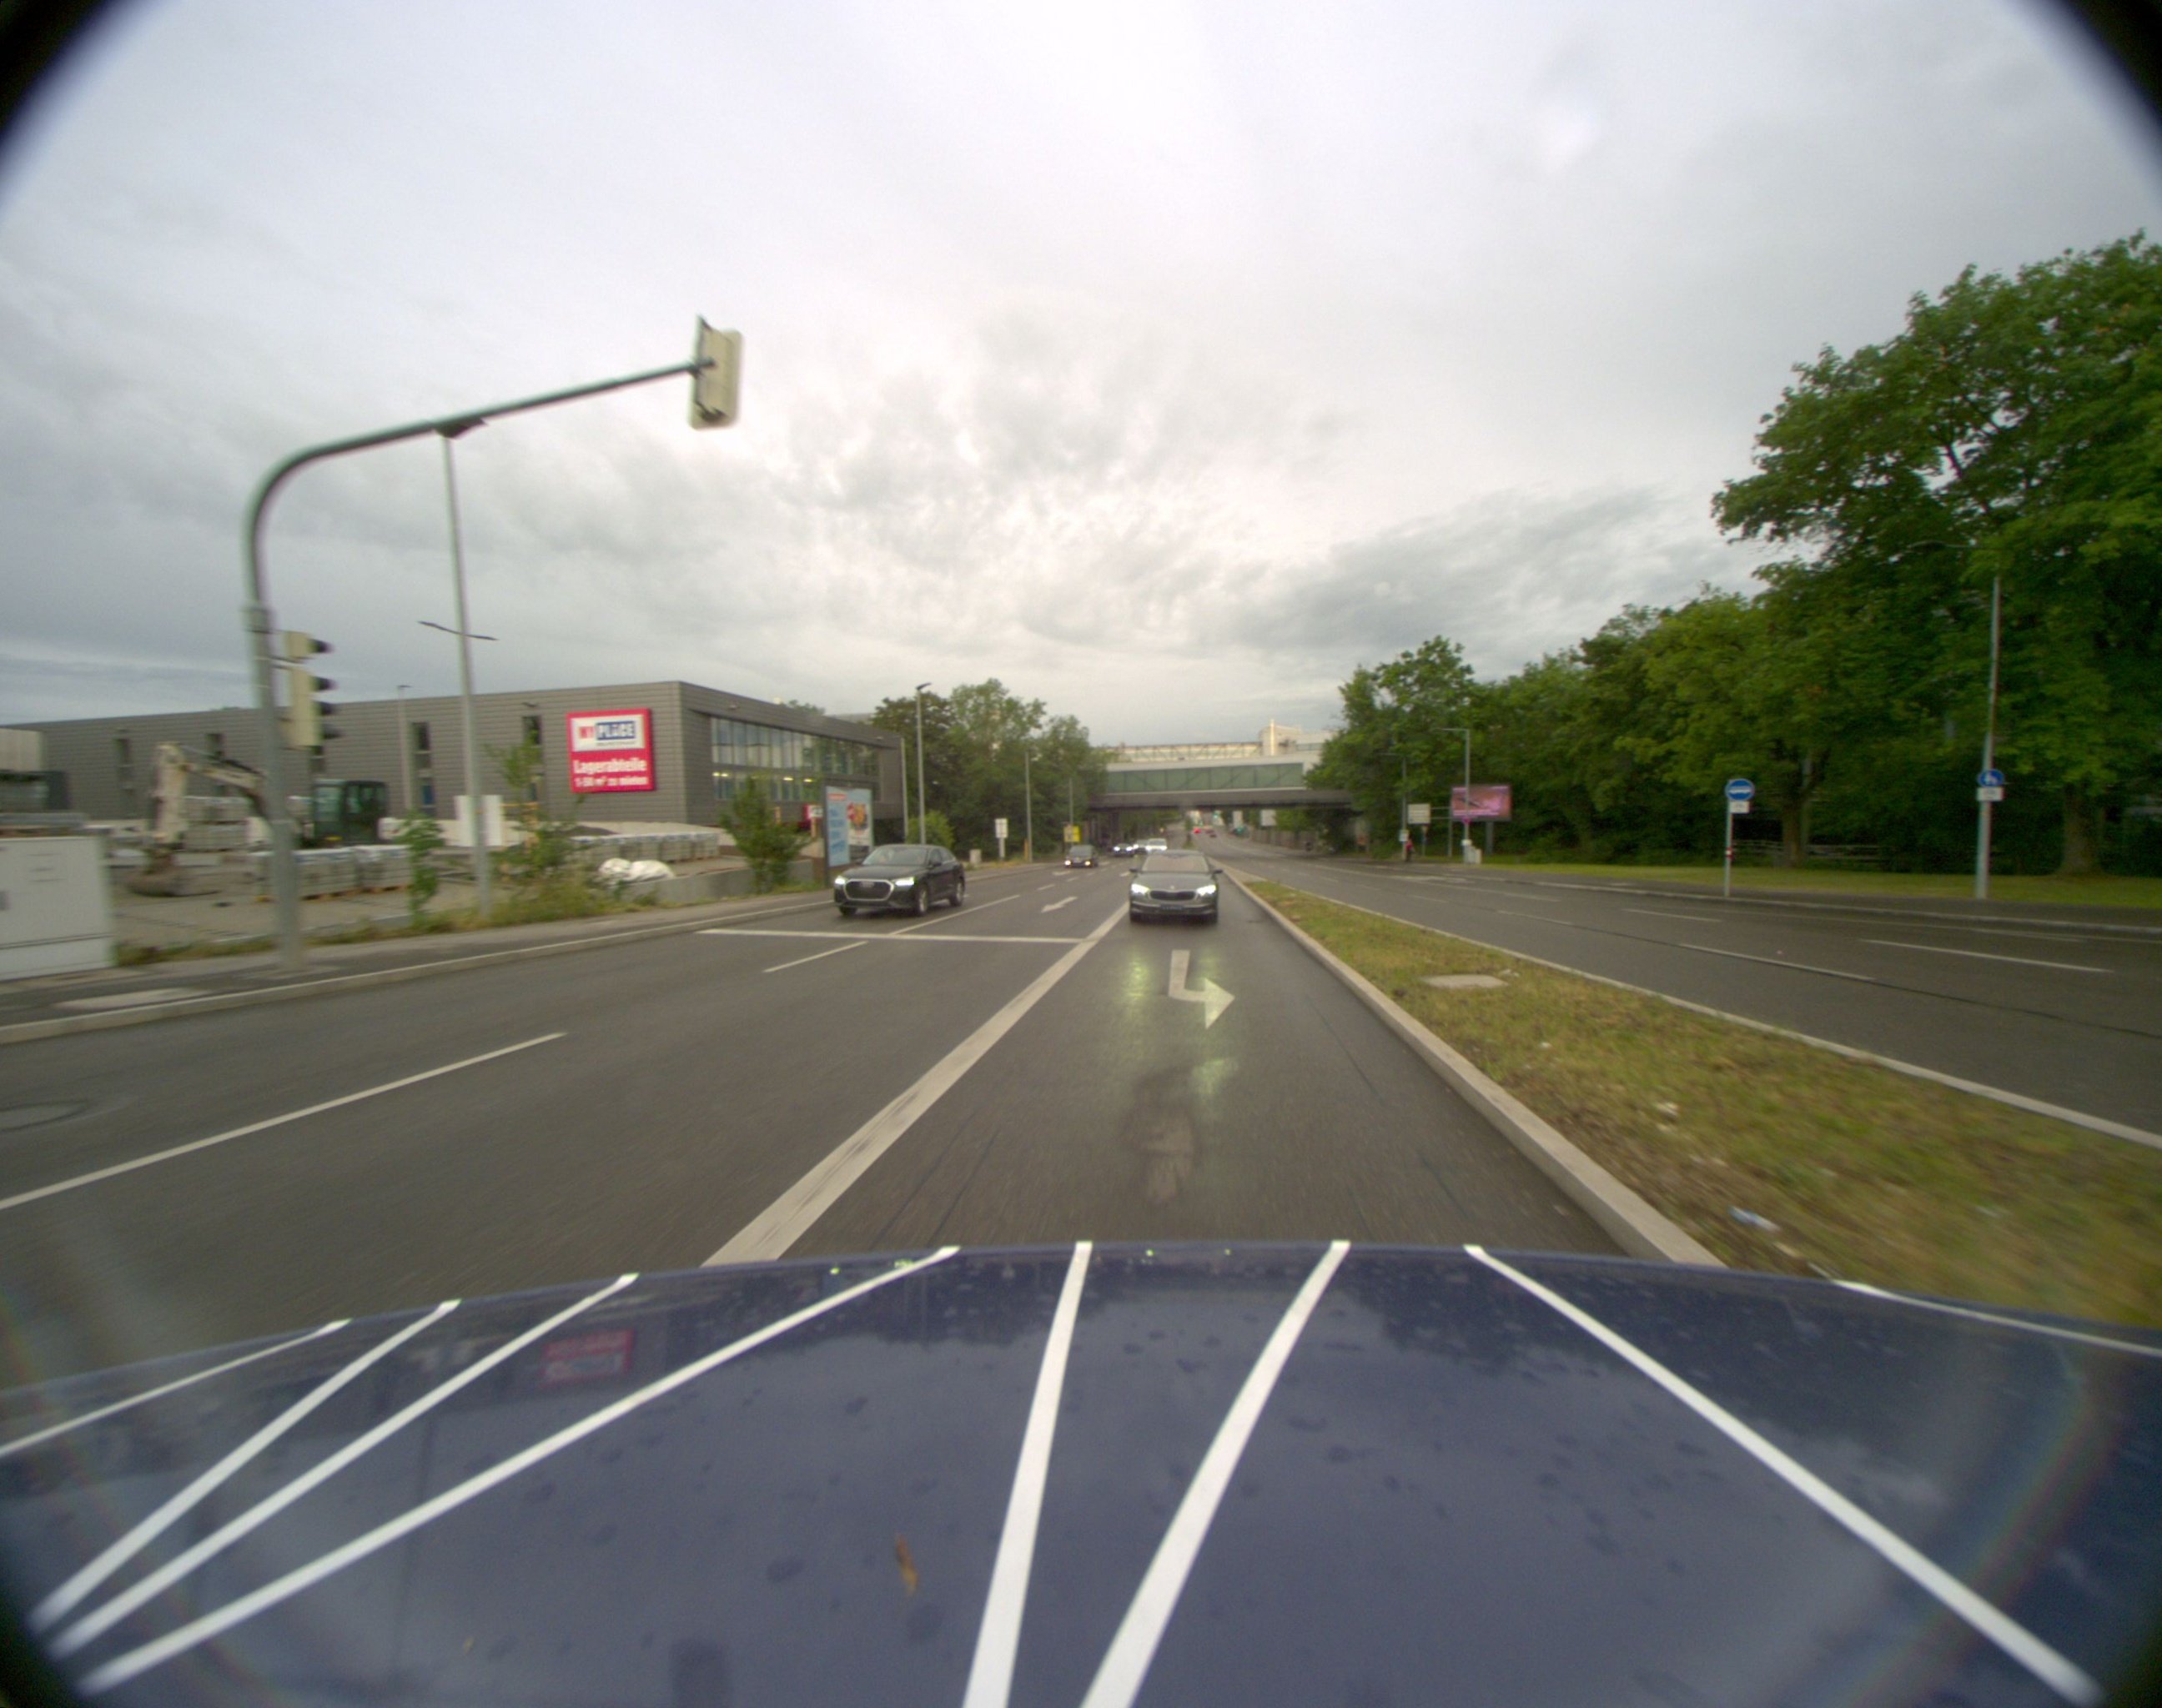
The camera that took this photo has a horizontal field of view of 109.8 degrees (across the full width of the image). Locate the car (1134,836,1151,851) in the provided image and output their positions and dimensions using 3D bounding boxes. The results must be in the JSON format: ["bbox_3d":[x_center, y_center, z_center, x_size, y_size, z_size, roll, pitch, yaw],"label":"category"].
[{"bbox_3d":[7.555,-1.319,93.128,1.818,1.571,4.333,-1,3,8],"label":"car"}]

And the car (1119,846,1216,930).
[{"bbox_3d":[1.936,0.624,16.481,1.818,1.536,4.065,1,1,8],"label":"car"}]

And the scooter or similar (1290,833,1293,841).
[{"bbox_3d":[32.092,-2.634,115.675,0.311,1.211,1.309,1,2,20],"label":"scooter or similar"}]

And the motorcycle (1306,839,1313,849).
[{"bbox_3d":[29.323,-1.301,97.554,0.469,1.198,1.997,0,2,8],"label":"motorcycle"}]

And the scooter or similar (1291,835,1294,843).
[{"bbox_3d":[31.556,-2.255,113.395,0.312,1.211,1.308,0,2,13],"label":"scooter or similar"}]

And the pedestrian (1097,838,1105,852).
[{"bbox_3d":[2.225,-1.030,84.299,0.651,1.587,0.579,1,3,20],"label":"pedestrian"}]

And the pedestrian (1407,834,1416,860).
[{"bbox_3d":[23.298,-0.484,53.608,0.520,1.806,0.800,-1,2,18],"label":"pedestrian"}]

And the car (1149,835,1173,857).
[{"bbox_3d":[7.531,-0.790,71.317,2.033,1.921,4.333,-1,3,8],"label":"car"}]

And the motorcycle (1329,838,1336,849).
[{"bbox_3d":[26.864,-1.079,81.065,0.469,1.152,1.933,0,2,11],"label":"motorcycle"}]

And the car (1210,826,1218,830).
[{"bbox_3d":[40.790,-7.903,232.591,2.068,1.354,4.758,0,2,7],"label":"car"}]

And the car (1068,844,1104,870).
[{"bbox_3d":[0.387,0.191,50.217,1.748,1.423,4.517,-2,3,8],"label":"car"}]

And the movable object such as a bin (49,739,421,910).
[{"bbox_3d":[-18.744,-0.603,17.436,2.307,3.257,5.423,-1,1,1],"label":"movable object such as a bin"}]

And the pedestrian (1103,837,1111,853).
[{"bbox_3d":[2.860,-1.026,83.780,0.611,1.712,0.893,1,3,18],"label":"pedestrian"}]

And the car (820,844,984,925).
[{"bbox_3d":[-3.921,0.560,17.845,1.818,1.536,5.611,1,1,8],"label":"car"}]

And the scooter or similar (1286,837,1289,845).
[{"bbox_3d":[32.147,-2.081,118.310,0.312,1.211,1.308,0,2,8],"label":"scooter or similar"}]

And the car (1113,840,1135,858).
[{"bbox_3d":[4.470,-0.548,78.455,1.824,1.581,4.333,-1,3,8],"label":"car"}]
